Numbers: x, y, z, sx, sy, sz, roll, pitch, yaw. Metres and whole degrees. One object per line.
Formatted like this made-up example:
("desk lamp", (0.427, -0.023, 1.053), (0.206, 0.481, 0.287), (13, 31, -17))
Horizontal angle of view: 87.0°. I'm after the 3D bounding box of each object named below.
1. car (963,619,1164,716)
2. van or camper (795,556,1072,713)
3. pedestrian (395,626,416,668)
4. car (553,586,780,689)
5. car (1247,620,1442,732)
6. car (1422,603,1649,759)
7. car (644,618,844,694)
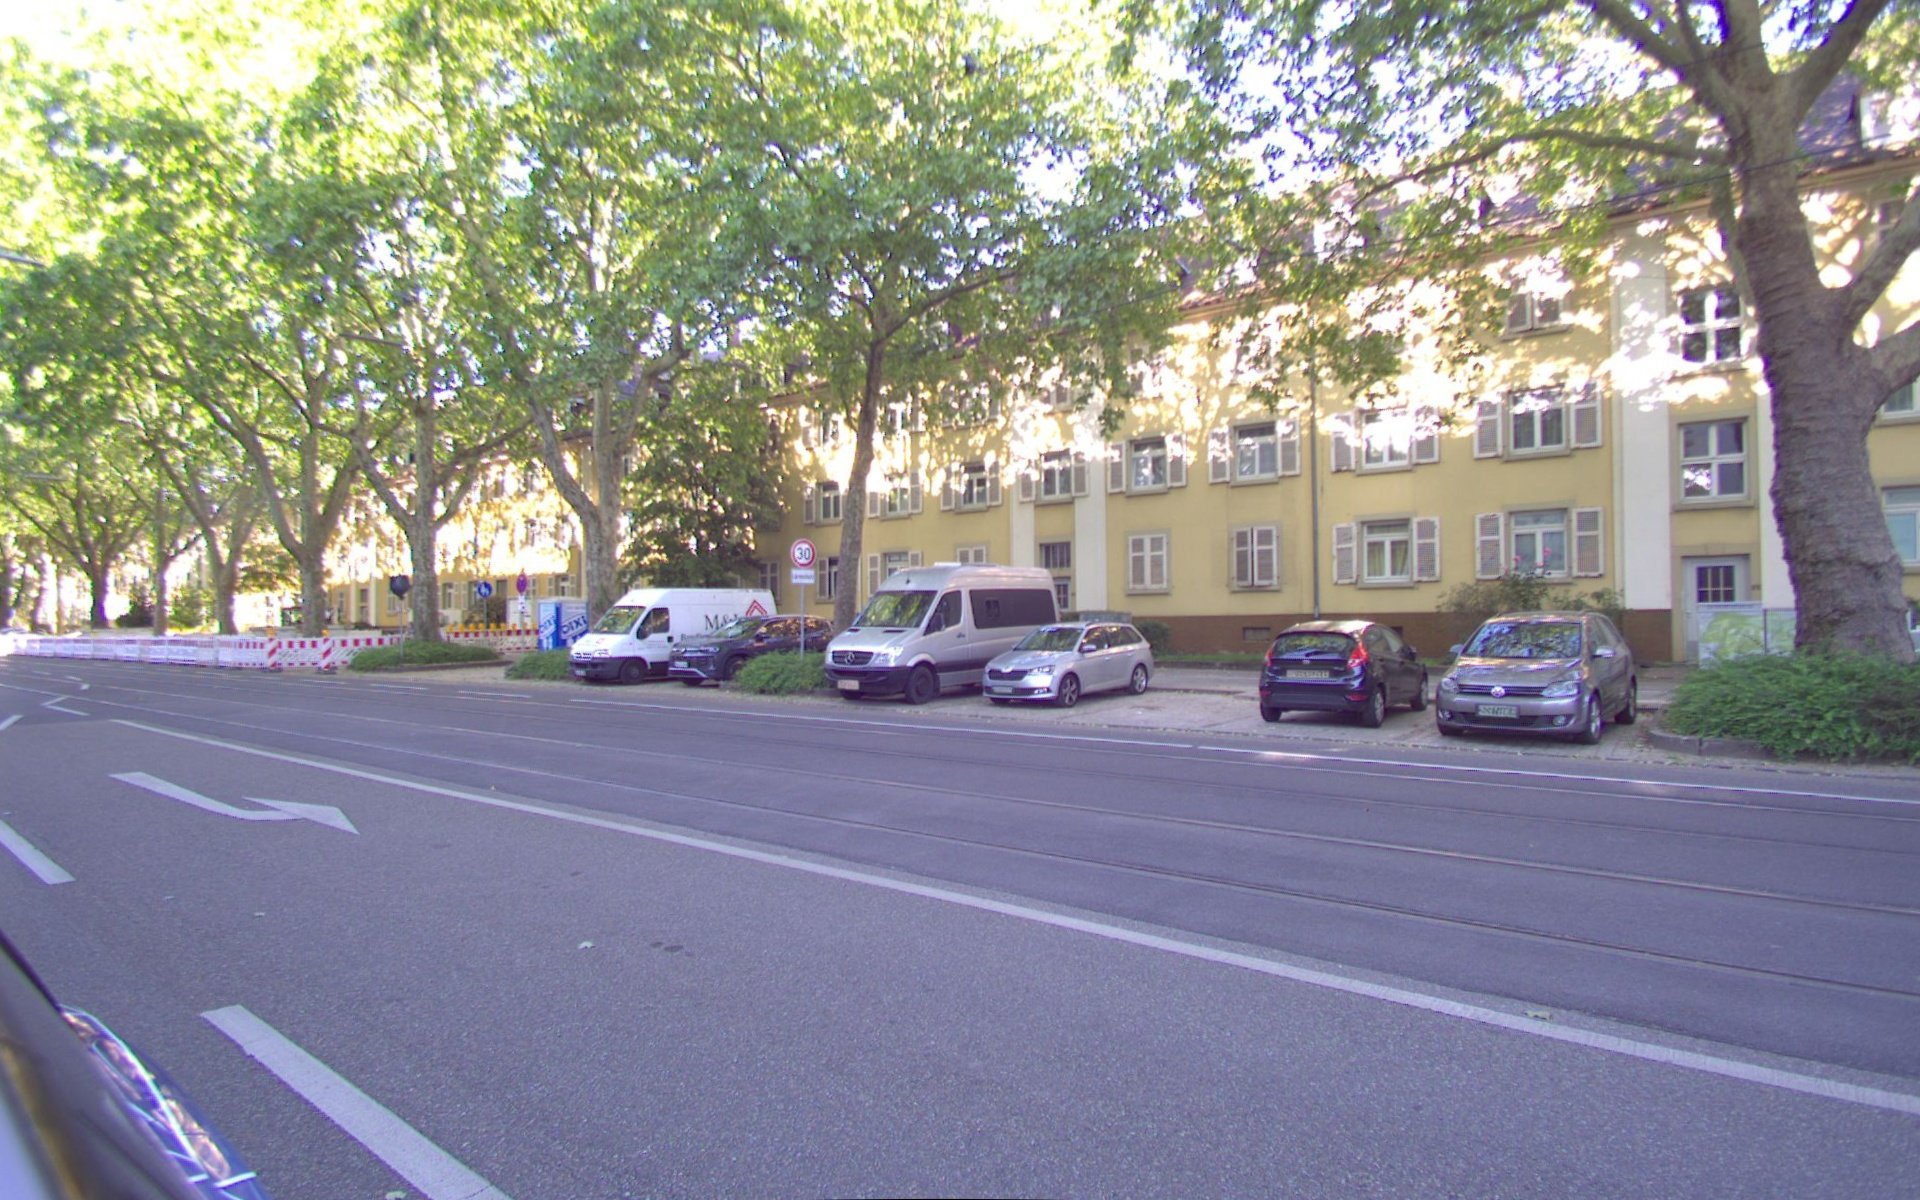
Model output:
("car", (2.033, 1.156, 18.907), (1.729, 1.481, 4.102), (0, 1, 40))
("van or camper", (-0.319, 0.611, 20.491), (2.227, 2.697, 6.052), (-2, -1, 38))
("pedestrian", (-21.143, 1.796, 38.607), (0.705, 1.585, 0.598), (0, -2, -28))
("car", (-7.448, 0.946, 26.287), (2.023, 2.394, 5.543), (-2, -2, 38))
("car", (5.903, 1.047, 15.329), (1.740, 1.440, 3.528), (-2, -1, 39))
("car", (7.733, 0.926, 13.415), (1.814, 1.617, 4.145), (-2, 0, 41))
("car", (-5.094, 1.272, 24.368), (1.967, 1.643, 4.520), (-2, -2, 38))
